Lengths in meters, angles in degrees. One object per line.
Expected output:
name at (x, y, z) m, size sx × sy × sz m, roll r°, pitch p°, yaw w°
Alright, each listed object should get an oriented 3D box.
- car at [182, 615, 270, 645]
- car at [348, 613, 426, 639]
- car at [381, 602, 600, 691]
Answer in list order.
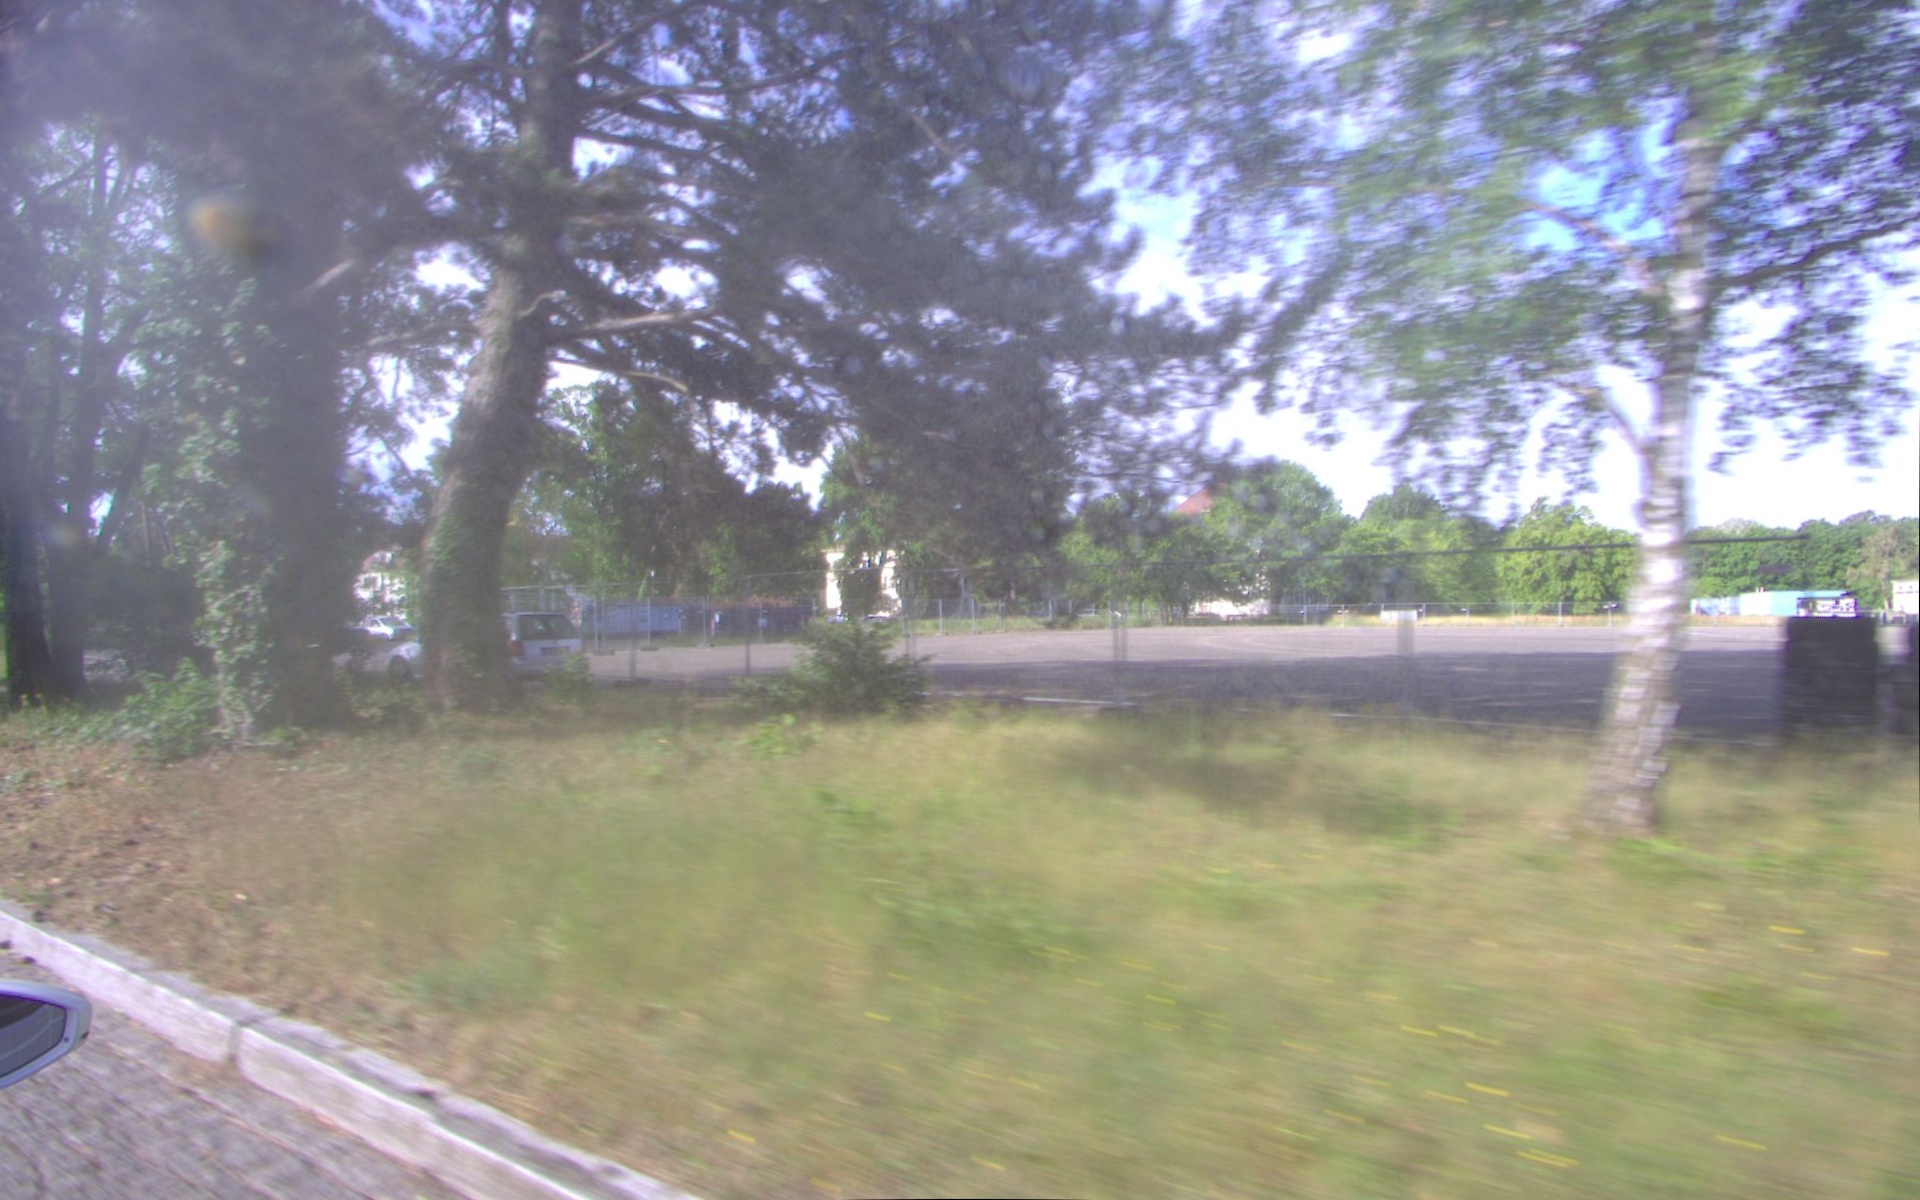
car at (-34.449, 1.386, 46.979) m, size 4.266 × 1.329 × 1.729 m, roll 0°, pitch 0°, yaw 29°
car at (-30.994, 1.379, 54.114) m, size 4.266 × 1.329 × 1.729 m, roll -1°, pitch 0°, yaw 30°
car at (-8.634, 0.794, 18.370) m, size 3.939 × 1.487 × 1.665 m, roll -1°, pitch 0°, yaw 29°
